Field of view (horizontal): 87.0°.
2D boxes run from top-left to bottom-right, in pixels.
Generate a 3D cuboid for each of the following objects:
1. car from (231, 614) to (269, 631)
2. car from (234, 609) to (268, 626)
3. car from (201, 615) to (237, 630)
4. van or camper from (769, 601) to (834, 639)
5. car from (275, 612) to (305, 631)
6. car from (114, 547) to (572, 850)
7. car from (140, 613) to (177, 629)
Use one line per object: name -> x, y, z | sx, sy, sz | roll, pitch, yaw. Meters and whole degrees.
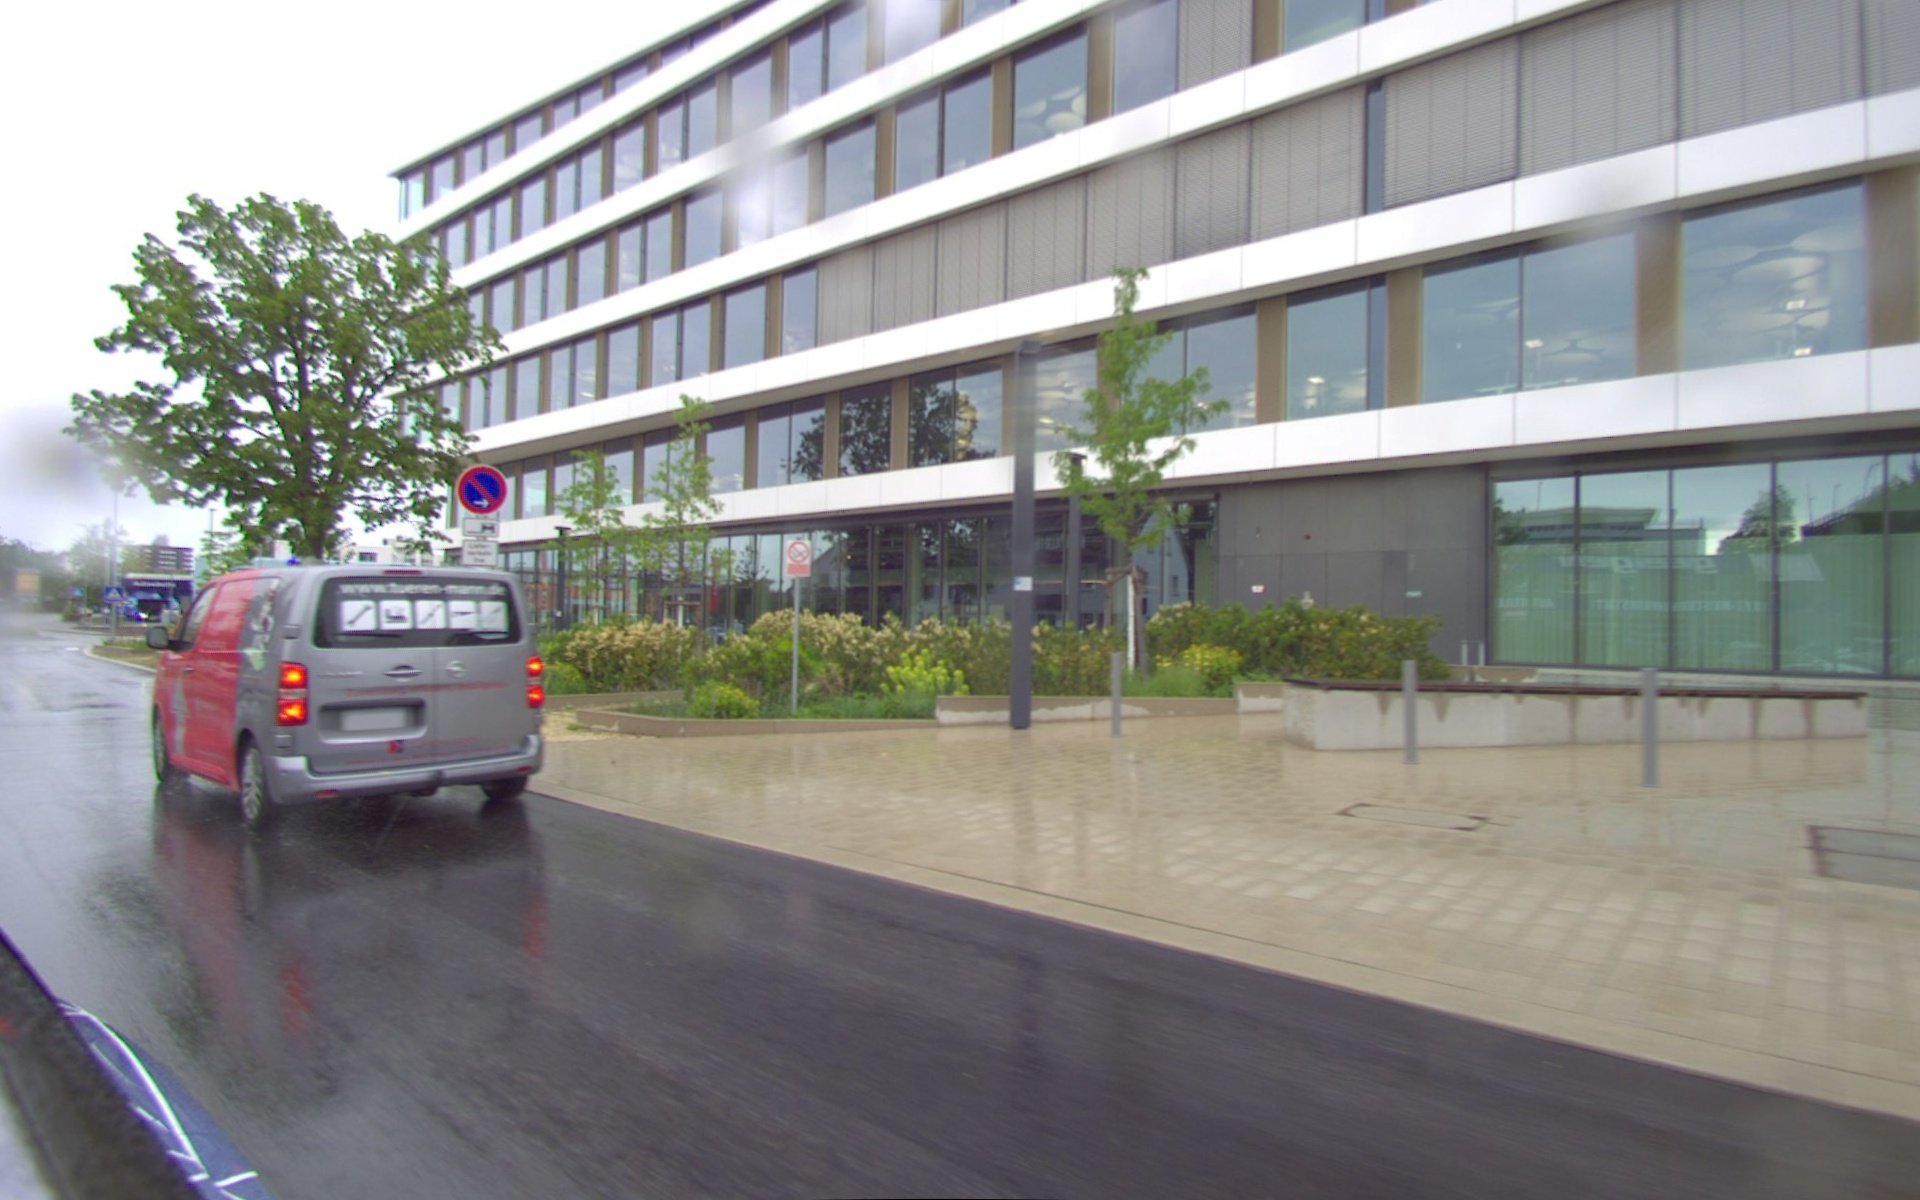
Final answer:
car -> -58.730, 1.830, 83.814 | 1.855, 1.305, 4.013 | -2, 0, -25
car -> -66.481, 1.638, 94.937 | 1.855, 1.497, 4.013 | -2, 0, -25
car -> -68.384, 2.054, 93.432 | 1.855, 1.305, 4.013 | -2, 0, -25
van or camper -> -13.505, 1.720, 86.340 | 5.013, 3.111, 2.006 | -1, -1, -28
car -> -56.581, 1.790, 85.510 | 1.763, 1.564, 4.013 | 1, -2, -28
car -> -5.432, 0.667, 8.572 | 4.979, 1.832, 1.981 | -1, -3, 43
car -> -79.289, 2.095, 100.156 | 1.888, 1.541, 4.013 | -1, -1, -22
